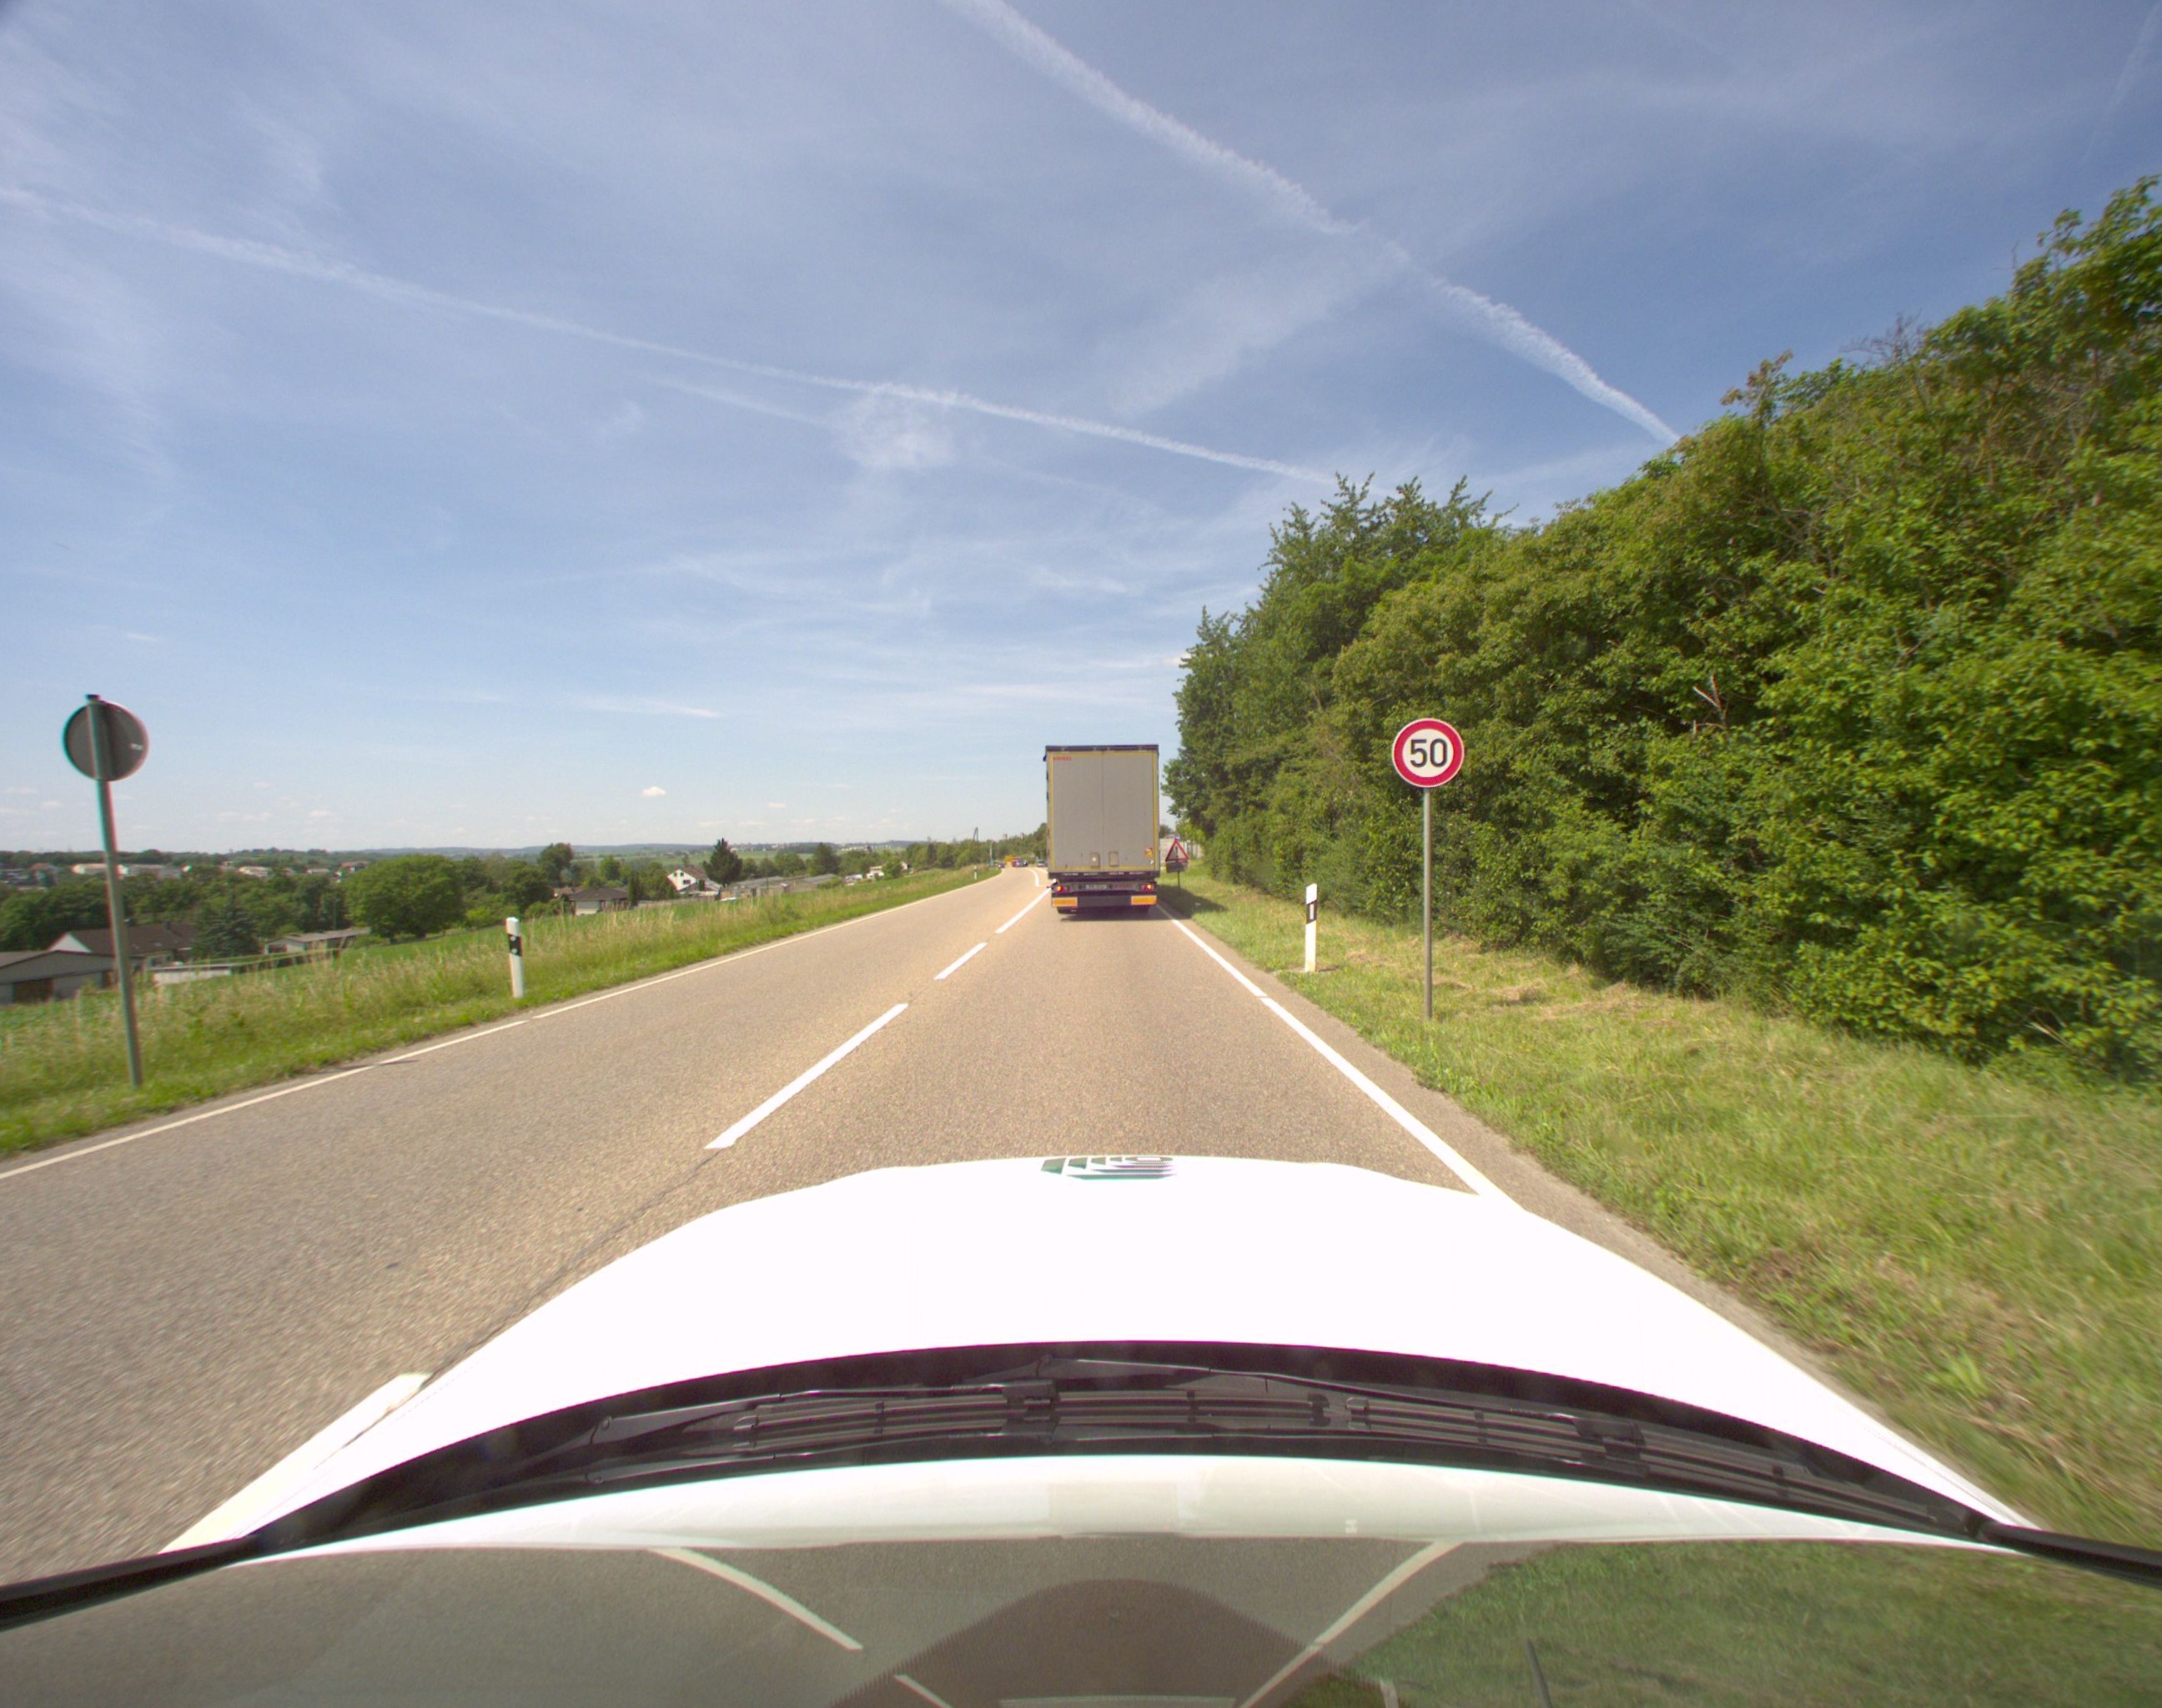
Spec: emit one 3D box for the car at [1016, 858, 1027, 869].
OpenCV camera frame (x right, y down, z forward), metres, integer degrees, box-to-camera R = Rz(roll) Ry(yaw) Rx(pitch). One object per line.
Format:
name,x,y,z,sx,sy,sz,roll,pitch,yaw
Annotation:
car,-11.870,1.826,161.806,1.989,1.950,4.497,-4,0,-3

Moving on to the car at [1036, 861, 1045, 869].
car,-9.569,2.630,191.437,1.888,1.777,4.382,-3,0,-3

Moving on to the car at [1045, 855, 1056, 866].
car,-6.528,1.362,173.117,2.166,2.013,4.521,-3,0,-3

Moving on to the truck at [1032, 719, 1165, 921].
truck,0.312,-0.756,22.335,2.899,4.410,8.855,-1,0,-1
